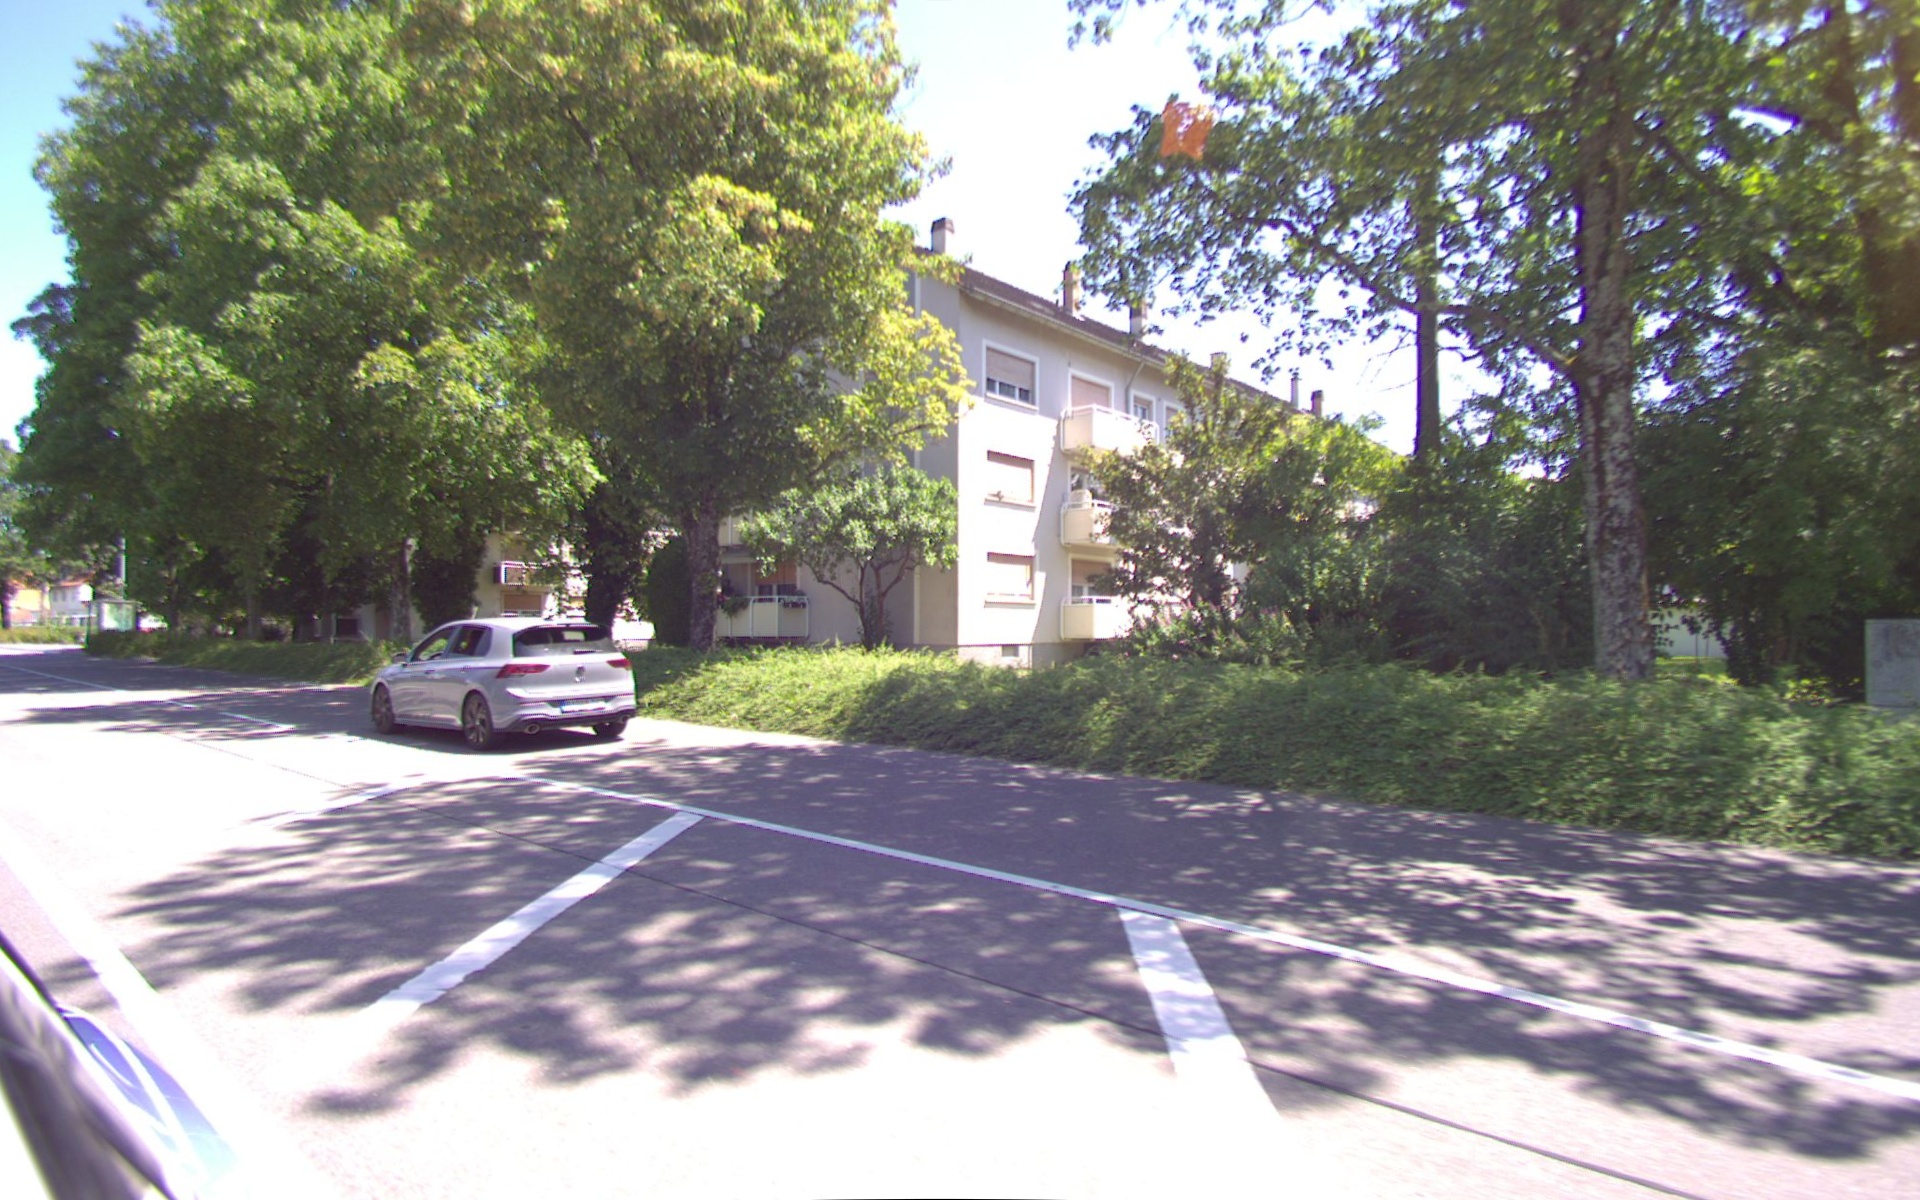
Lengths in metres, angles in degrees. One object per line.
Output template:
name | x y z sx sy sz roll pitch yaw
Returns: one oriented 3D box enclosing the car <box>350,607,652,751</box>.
car | -5.660 0.847 12.259 4.144 1.438 1.704 -2 -1 40
